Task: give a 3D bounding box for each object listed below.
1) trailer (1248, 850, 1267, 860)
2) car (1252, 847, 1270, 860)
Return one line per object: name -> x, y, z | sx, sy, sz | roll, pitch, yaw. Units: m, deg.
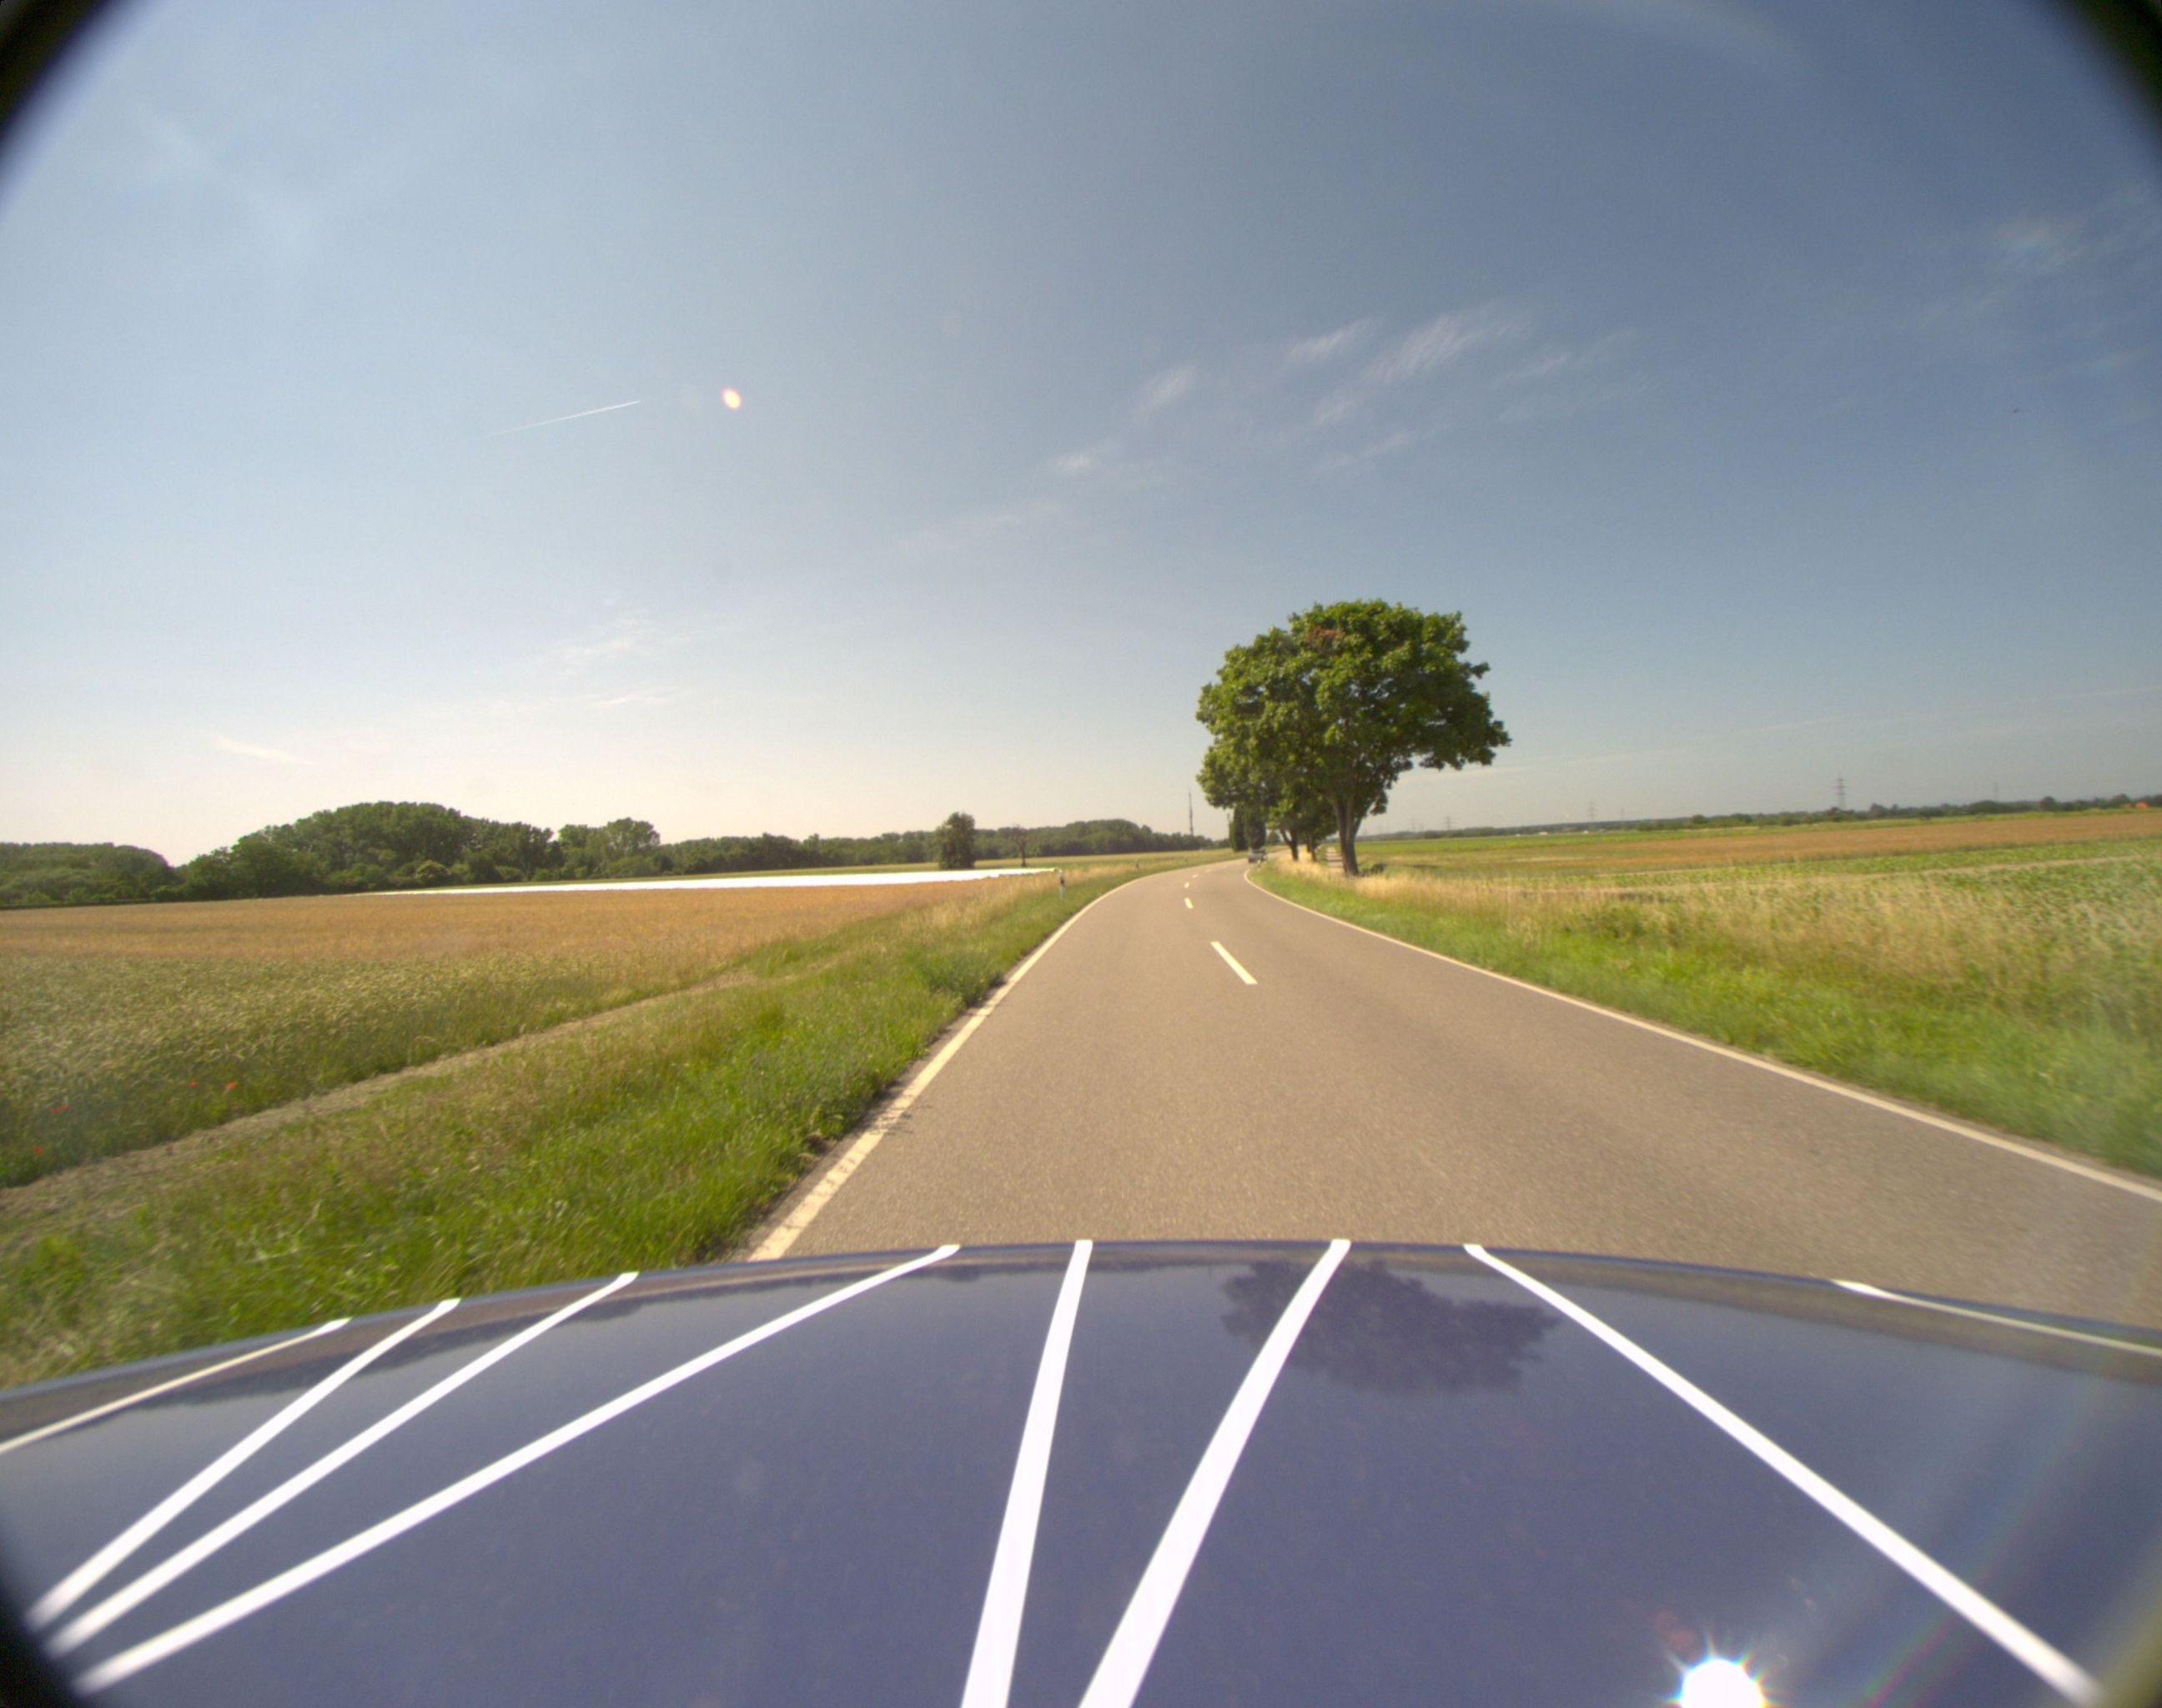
trailer -> 18.867, 0.103, 81.245 | 1.624, 1.059, 4.124 | 1, 1, 18
car -> 20.201, -0.098, 85.205 | 1.645, 1.421, 4.185 | 0, 1, 19
